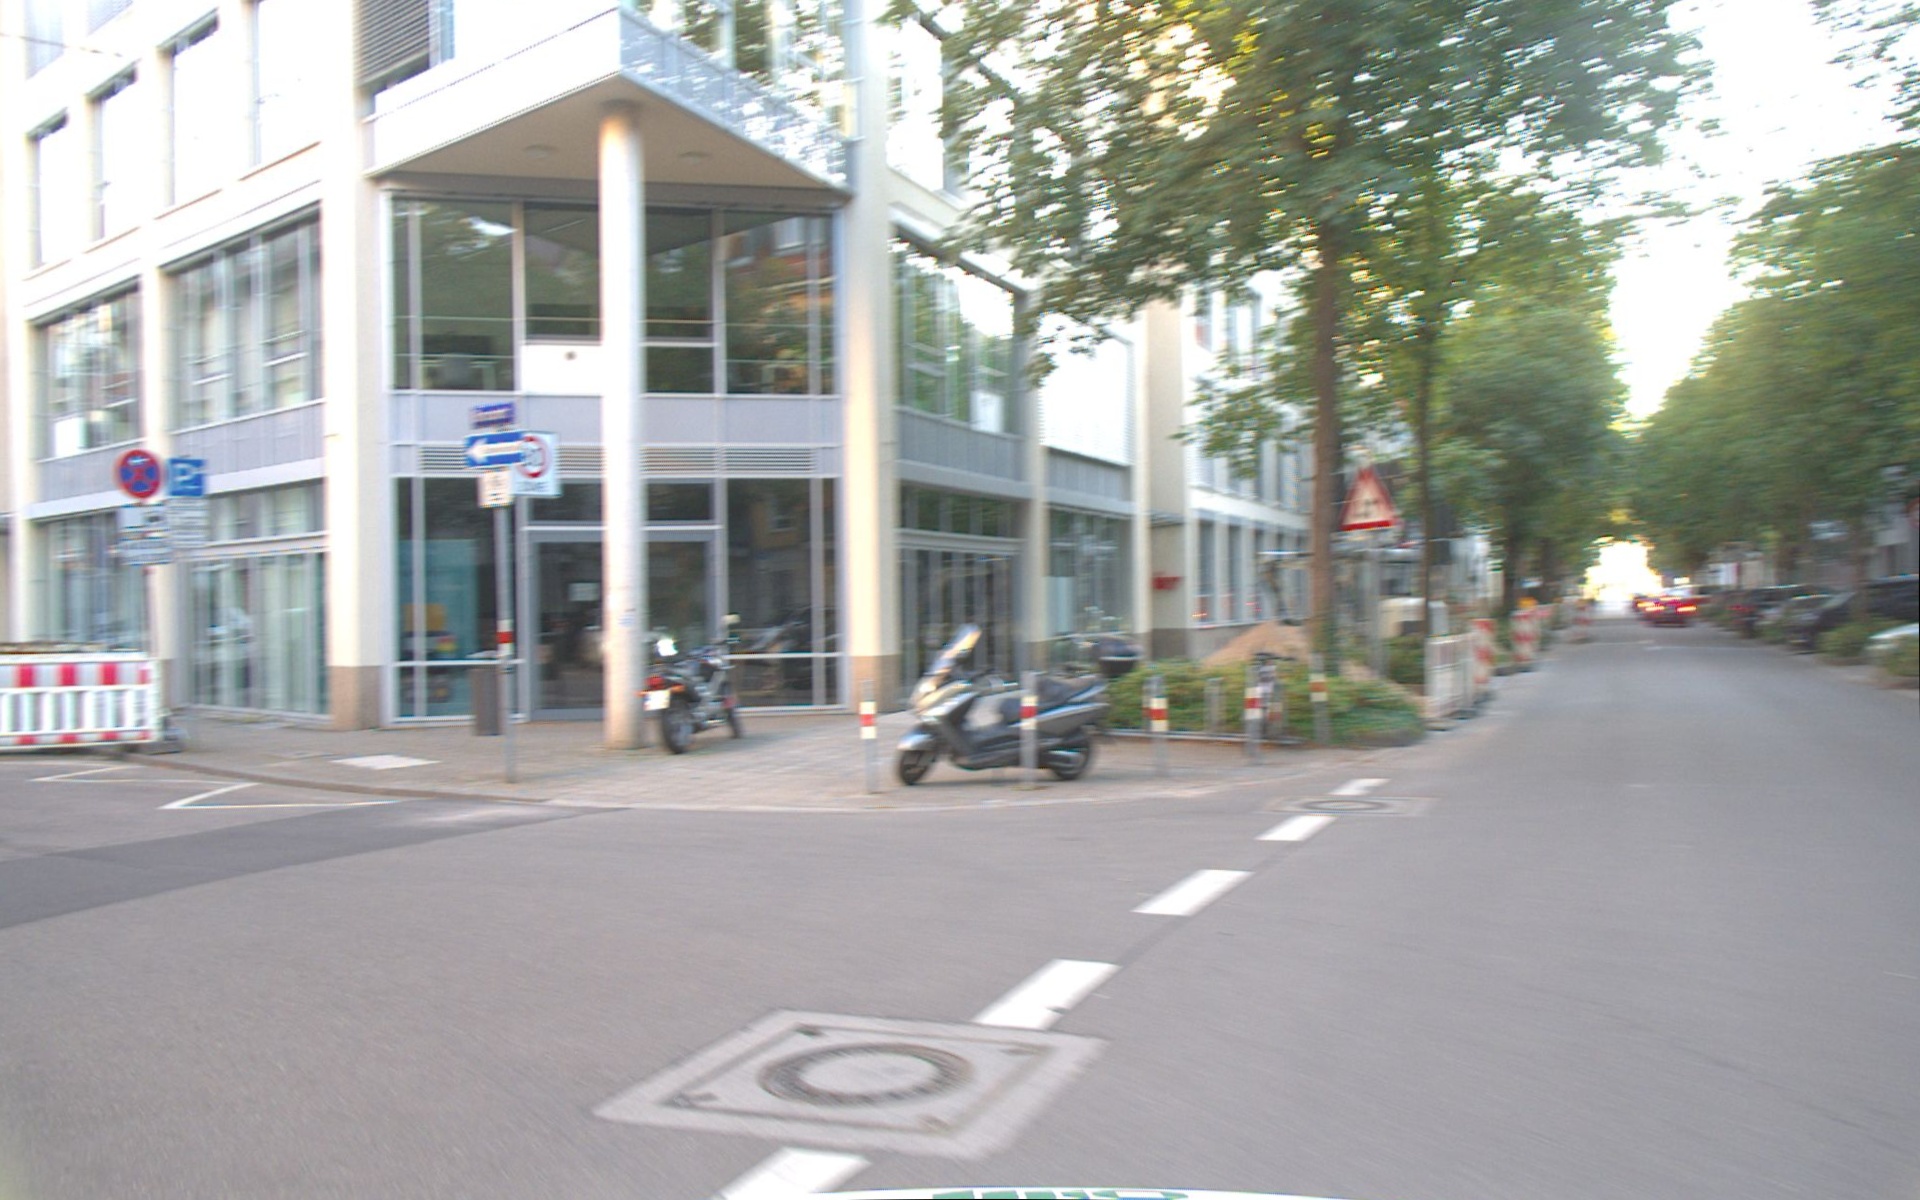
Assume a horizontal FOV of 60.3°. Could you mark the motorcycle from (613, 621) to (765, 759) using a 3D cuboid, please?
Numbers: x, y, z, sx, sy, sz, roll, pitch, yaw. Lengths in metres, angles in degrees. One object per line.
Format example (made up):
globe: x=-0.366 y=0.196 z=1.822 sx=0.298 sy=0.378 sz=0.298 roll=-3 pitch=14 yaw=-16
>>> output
motorcycle: x=-2.829 y=0.909 z=17.499 sx=0.601 sy=1.296 sz=2.126 roll=-1 pitch=1 yaw=20

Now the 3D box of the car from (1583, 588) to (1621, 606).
car: x=74.456 y=-0.363 z=191.950 sx=3.902 sy=1.948 sz=1.779 roll=-1 pitch=0 yaw=13

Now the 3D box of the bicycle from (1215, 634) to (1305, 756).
bicycle: x=3.160 y=0.963 z=17.307 sx=0.588 sy=1.137 sz=1.800 roll=-1 pitch=0 yaw=21

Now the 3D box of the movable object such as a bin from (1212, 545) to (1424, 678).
movable object such as a bin: x=6.823 y=0.229 z=31.355 sx=3.589 sy=2.373 sz=2.584 roll=-1 pitch=0 yaw=20

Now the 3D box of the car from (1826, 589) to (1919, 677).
car: x=18.858 y=0.595 z=31.177 sx=4.347 sy=1.619 sz=1.628 roll=-1 pitch=0 yaw=24

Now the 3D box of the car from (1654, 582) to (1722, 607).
car: x=48.323 y=-0.343 z=109.897 sx=3.903 sy=1.625 sz=2.001 roll=-1 pitch=0 yaw=18

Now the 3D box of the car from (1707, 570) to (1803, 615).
car: x=37.765 y=-0.347 z=78.696 sx=3.904 sy=2.049 sz=2.000 roll=-1 pitch=0 yaw=21

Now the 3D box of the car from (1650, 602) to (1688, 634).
car: x=33.524 y=0.861 z=78.287 sx=1.469 sy=1.441 sz=3.714 roll=-1 pitch=0 yaw=21

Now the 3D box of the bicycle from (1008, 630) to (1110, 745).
bicycle: x=1.110 y=0.938 z=18.214 sx=0.588 sy=1.137 sz=1.800 roll=-1 pitch=0 yaw=21

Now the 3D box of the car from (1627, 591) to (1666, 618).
car: x=38.607 y=0.236 z=93.108 sx=1.777 sy=1.457 sz=3.936 roll=-1 pitch=0 yaw=19

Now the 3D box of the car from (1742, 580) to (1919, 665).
car: x=23.011 y=0.580 z=42.810 sx=4.870 sy=2.124 sz=1.738 roll=-1 pitch=0 yaw=22

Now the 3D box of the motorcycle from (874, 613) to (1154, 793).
motorcycle: x=0.478 y=0.868 z=14.606 sx=2.336 sy=1.466 sz=0.797 roll=-1 pitch=0 yaw=-19

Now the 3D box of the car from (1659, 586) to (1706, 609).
car: x=65.663 y=-0.244 z=150.366 sx=3.906 sy=2.049 sz=1.999 roll=-1 pitch=0 yaw=23
